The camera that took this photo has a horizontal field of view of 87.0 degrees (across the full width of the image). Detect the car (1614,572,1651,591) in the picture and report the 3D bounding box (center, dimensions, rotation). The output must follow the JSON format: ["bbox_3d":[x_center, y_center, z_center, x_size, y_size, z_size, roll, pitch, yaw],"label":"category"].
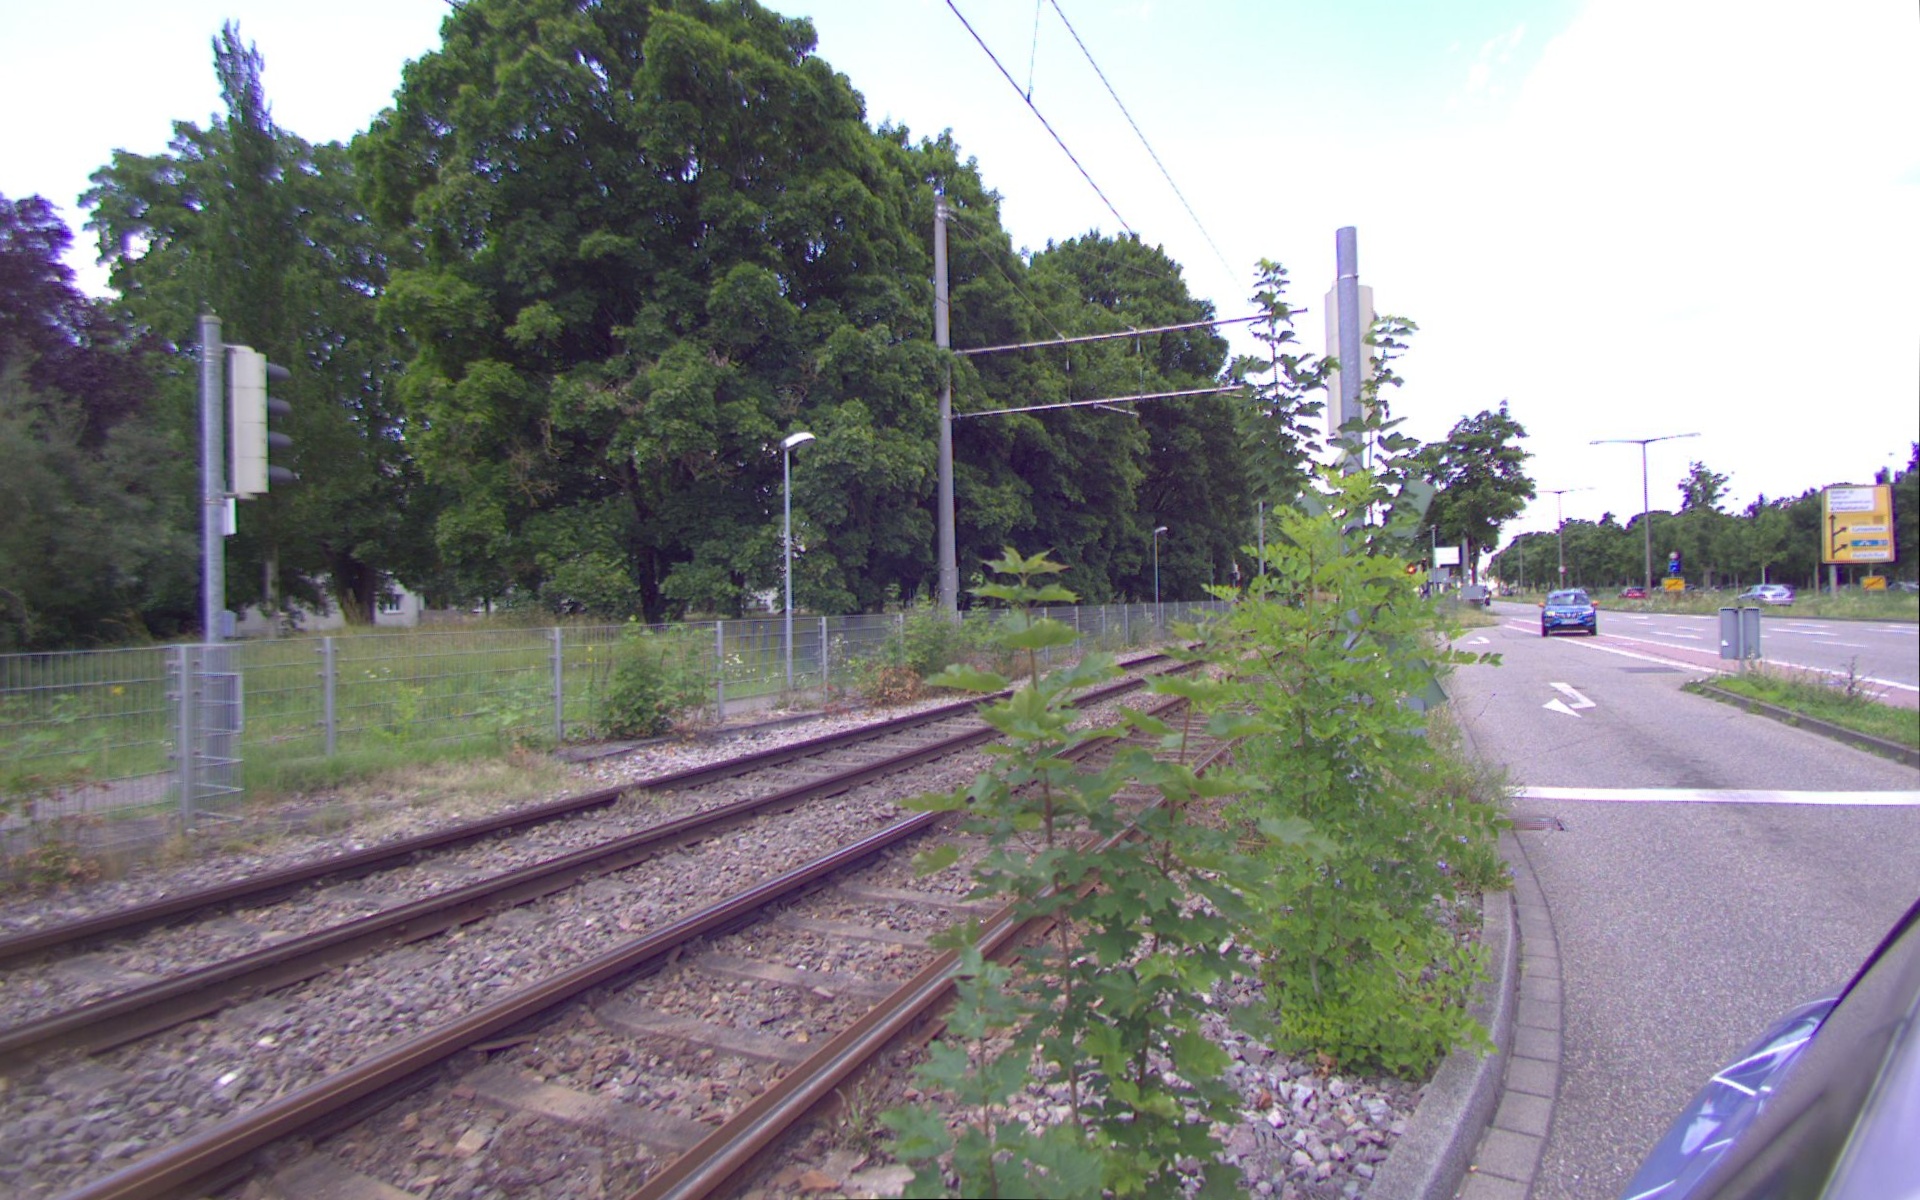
[{"bbox_3d":[59.240,-1.586,89.148,1.871,1.531,3.970,-3,0,22],"label":"car"}]

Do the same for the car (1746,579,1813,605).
[{"bbox_3d":[47.671,-0.463,58.978,1.785,1.450,4.462,-2,0,23],"label":"car"}]

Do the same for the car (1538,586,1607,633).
[{"bbox_3d":[20.729,0.292,34.381,1.588,1.482,3.671,-1,0,25],"label":"car"}]

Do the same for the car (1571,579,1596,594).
[{"bbox_3d":[67.880,-1.482,110.227,1.597,1.463,3.567,-3,-1,22],"label":"car"}]
